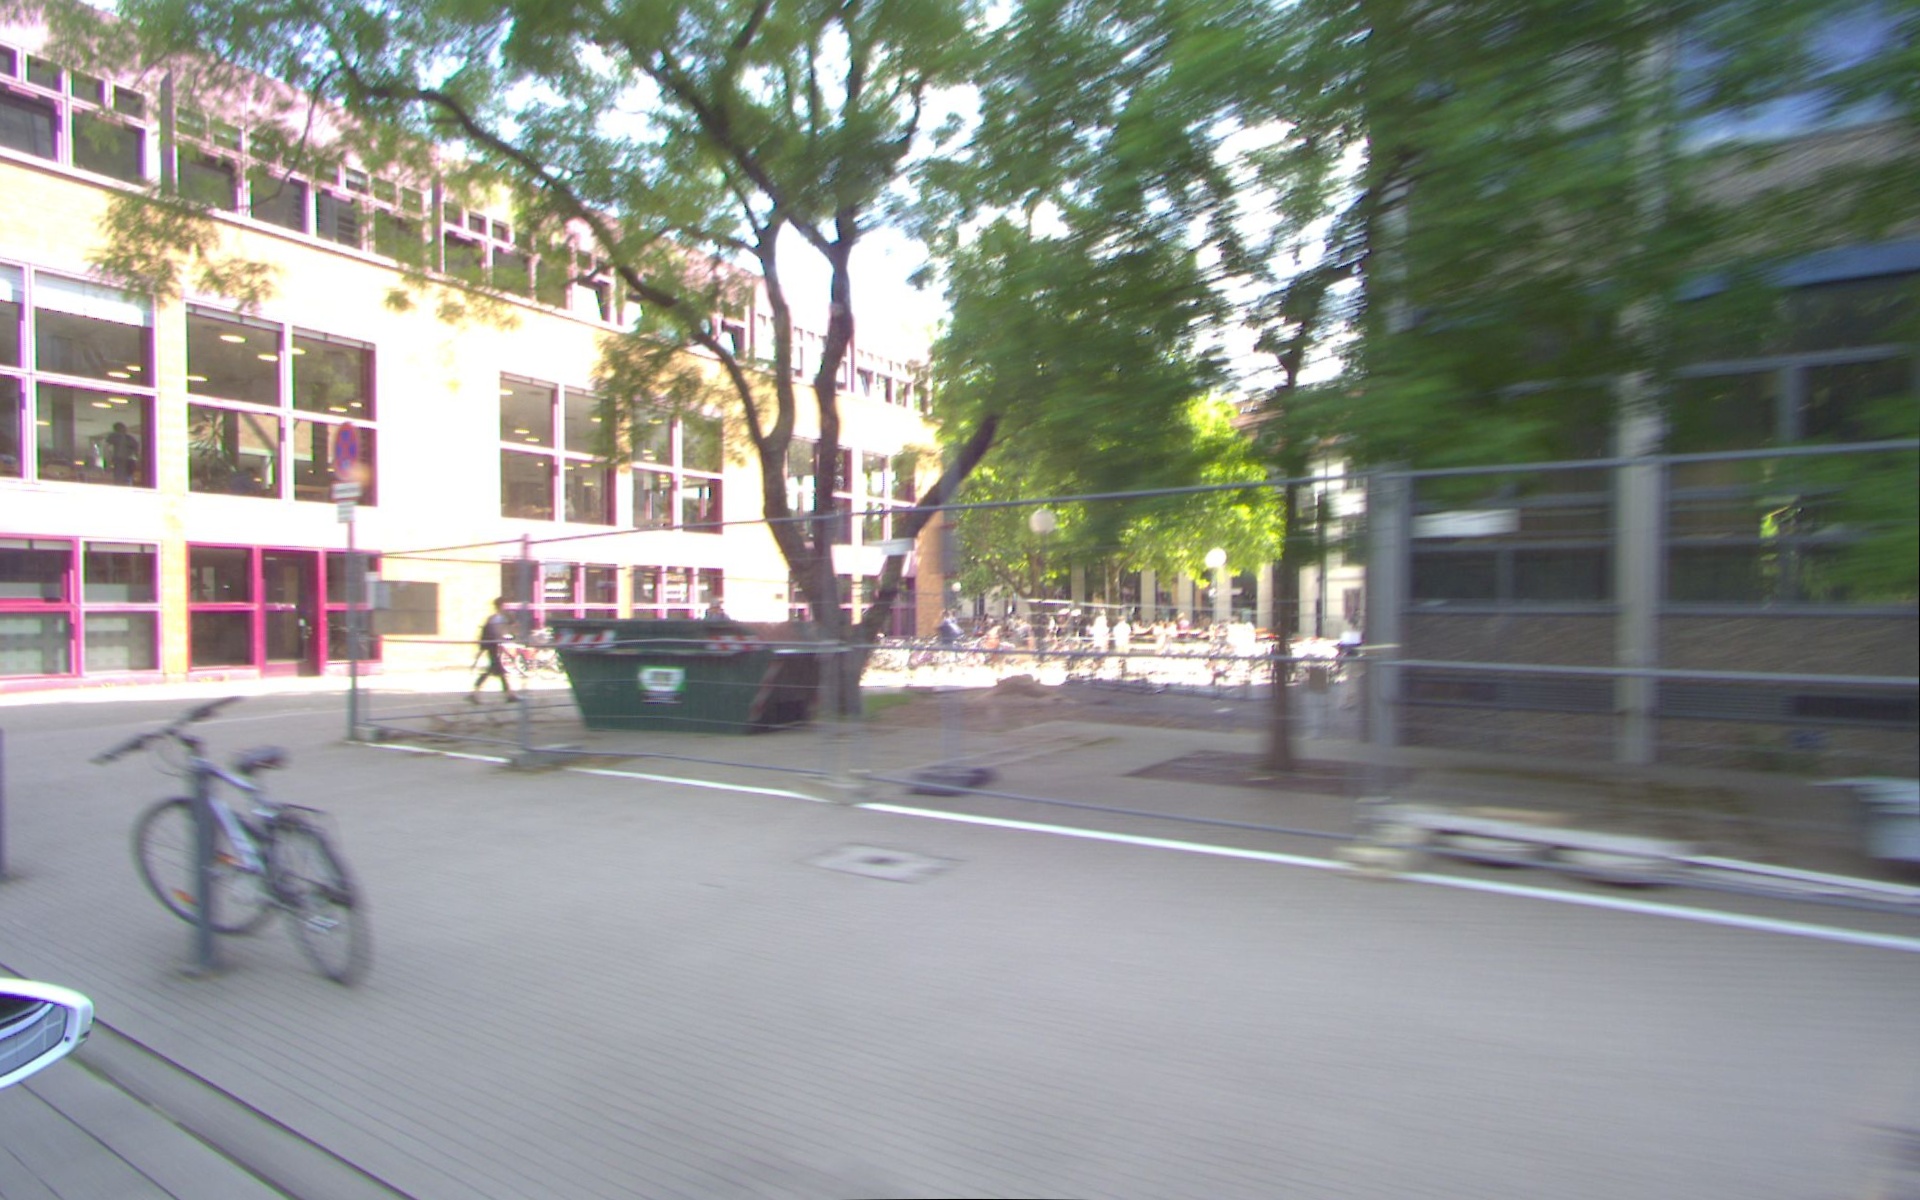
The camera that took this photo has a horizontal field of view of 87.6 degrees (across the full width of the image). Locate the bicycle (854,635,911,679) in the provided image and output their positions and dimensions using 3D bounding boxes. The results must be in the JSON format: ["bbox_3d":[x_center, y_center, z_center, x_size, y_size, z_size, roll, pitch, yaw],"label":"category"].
[{"bbox_3d":[-2.115,1.590,27.747,0.467,1.183,1.994,0,-3,31],"label":"bicycle"}]

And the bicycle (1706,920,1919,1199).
[{"bbox_3d":[1.812,0.982,0.977,1.707,0.948,0.395,0,1,32],"label":"bicycle"}]

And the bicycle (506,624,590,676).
[{"bbox_3d":[-9.358,1.155,22.812,0.516,1.124,1.808,0,-3,30],"label":"bicycle"}]

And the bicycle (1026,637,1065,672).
[{"bbox_3d":[3.104,1.968,36.057,0.537,1.183,1.994,0,-3,31],"label":"bicycle"}]

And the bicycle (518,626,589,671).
[{"bbox_3d":[-10.518,1.276,25.978,0.466,1.124,1.807,0,-3,27],"label":"bicycle"}]

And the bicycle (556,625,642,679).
[{"bbox_3d":[-7.862,1.153,21.903,0.516,1.124,1.807,0,-3,32],"label":"bicycle"}]

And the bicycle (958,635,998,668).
[{"bbox_3d":[0.698,1.962,37.610,0.537,1.183,1.994,0,-3,31],"label":"bicycle"}]

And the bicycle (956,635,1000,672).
[{"bbox_3d":[0.618,1.803,33.610,0.537,1.183,1.994,0,-3,31],"label":"bicycle"}]

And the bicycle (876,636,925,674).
[{"bbox_3d":[-1.913,1.796,32.526,0.537,1.183,1.994,0,-3,31],"label":"bicycle"}]

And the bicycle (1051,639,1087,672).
[{"bbox_3d":[4.142,2.124,38.042,0.537,1.183,1.994,0,-3,31],"label":"bicycle"}]

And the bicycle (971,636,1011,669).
[{"bbox_3d":[1.163,1.960,37.245,0.537,1.183,1.994,0,-3,31],"label":"bicycle"}]

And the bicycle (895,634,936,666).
[{"bbox_3d":[-1.722,1.976,39.176,0.537,1.183,1.994,0,-3,31],"label":"bicycle"}]

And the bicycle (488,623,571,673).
[{"bbox_3d":[-10.112,1.135,23.587,0.516,1.124,1.807,0,-3,32],"label":"bicycle"}]

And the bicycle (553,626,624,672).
[{"bbox_3d":[-9.391,1.254,25.387,0.466,1.124,1.807,0,-3,27],"label":"bicycle"}]

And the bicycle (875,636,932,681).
[{"bbox_3d":[-1.534,1.620,27.535,0.467,1.183,1.994,0,-3,31],"label":"bicycle"}]

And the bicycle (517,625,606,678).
[{"bbox_3d":[-8.749,1.140,22.049,0.517,1.124,1.805,0,-3,36],"label":"bicycle"}]

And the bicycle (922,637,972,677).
[{"bbox_3d":[-0.377,1.781,31.109,0.537,1.183,1.994,0,-3,31],"label":"bicycle"}]

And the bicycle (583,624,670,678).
[{"bbox_3d":[-7.202,1.112,21.726,0.517,1.124,1.805,0,-3,36],"label":"bicycle"}]

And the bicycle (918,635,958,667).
[{"bbox_3d":[-0.827,1.969,38.480,0.537,1.183,1.994,0,-3,31],"label":"bicycle"}]

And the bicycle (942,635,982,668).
[{"bbox_3d":[0.104,1.964,37.975,0.537,1.183,1.994,0,-3,31],"label":"bicycle"}]

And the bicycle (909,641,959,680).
[{"bbox_3d":[-0.801,1.919,31.551,0.537,1.183,1.994,0,-3,31],"label":"bicycle"}]

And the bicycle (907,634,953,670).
[{"bbox_3d":[-1.009,1.788,34.455,0.537,1.183,1.994,0,-3,31],"label":"bicycle"}]

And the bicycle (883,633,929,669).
[{"bbox_3d":[-1.869,1.797,35.020,0.537,1.183,1.994,0,-3,31],"label":"bicycle"}]

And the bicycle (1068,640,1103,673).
[{"bbox_3d":[4.724,2.117,37.573,0.537,1.183,1.994,0,-3,31],"label":"bicycle"}]

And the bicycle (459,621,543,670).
[{"bbox_3d":[-10.919,1.093,23.879,0.516,1.124,1.808,0,-3,31],"label":"bicycle"}]

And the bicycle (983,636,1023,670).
[{"bbox_3d":[1.599,1.965,36.907,0.537,1.183,1.994,0,-3,31],"label":"bicycle"}]

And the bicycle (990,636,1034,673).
[{"bbox_3d":[1.725,1.816,33.013,0.537,1.183,1.994,0,-3,31],"label":"bicycle"}]

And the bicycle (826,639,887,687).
[{"bbox_3d":[-2.651,1.633,25.816,0.468,1.183,1.802,0,-3,36],"label":"bicycle"}]

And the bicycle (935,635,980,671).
[{"bbox_3d":[-0.057,1.813,34.091,0.537,1.183,1.994,0,-3,31],"label":"bicycle"}]

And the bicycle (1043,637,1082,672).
[{"bbox_3d":[3.655,1.950,35.529,0.537,1.183,1.994,0,-3,31],"label":"bicycle"}]

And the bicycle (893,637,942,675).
[{"bbox_3d":[-1.355,1.815,32.219,0.537,1.183,1.994,0,-3,31],"label":"bicycle"}]

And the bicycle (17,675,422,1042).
[{"bbox_3d":[-3.003,0.897,4.020,1.723,1.107,0.707,0,-2,32],"label":"bicycle"}]

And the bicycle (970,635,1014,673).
[{"bbox_3d":[1.082,1.811,33.280,0.537,1.183,1.994,0,-3,31],"label":"bicycle"}]

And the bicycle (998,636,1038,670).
[{"bbox_3d":[2.133,1.948,36.411,0.537,1.183,1.994,0,-3,31],"label":"bicycle"}]
